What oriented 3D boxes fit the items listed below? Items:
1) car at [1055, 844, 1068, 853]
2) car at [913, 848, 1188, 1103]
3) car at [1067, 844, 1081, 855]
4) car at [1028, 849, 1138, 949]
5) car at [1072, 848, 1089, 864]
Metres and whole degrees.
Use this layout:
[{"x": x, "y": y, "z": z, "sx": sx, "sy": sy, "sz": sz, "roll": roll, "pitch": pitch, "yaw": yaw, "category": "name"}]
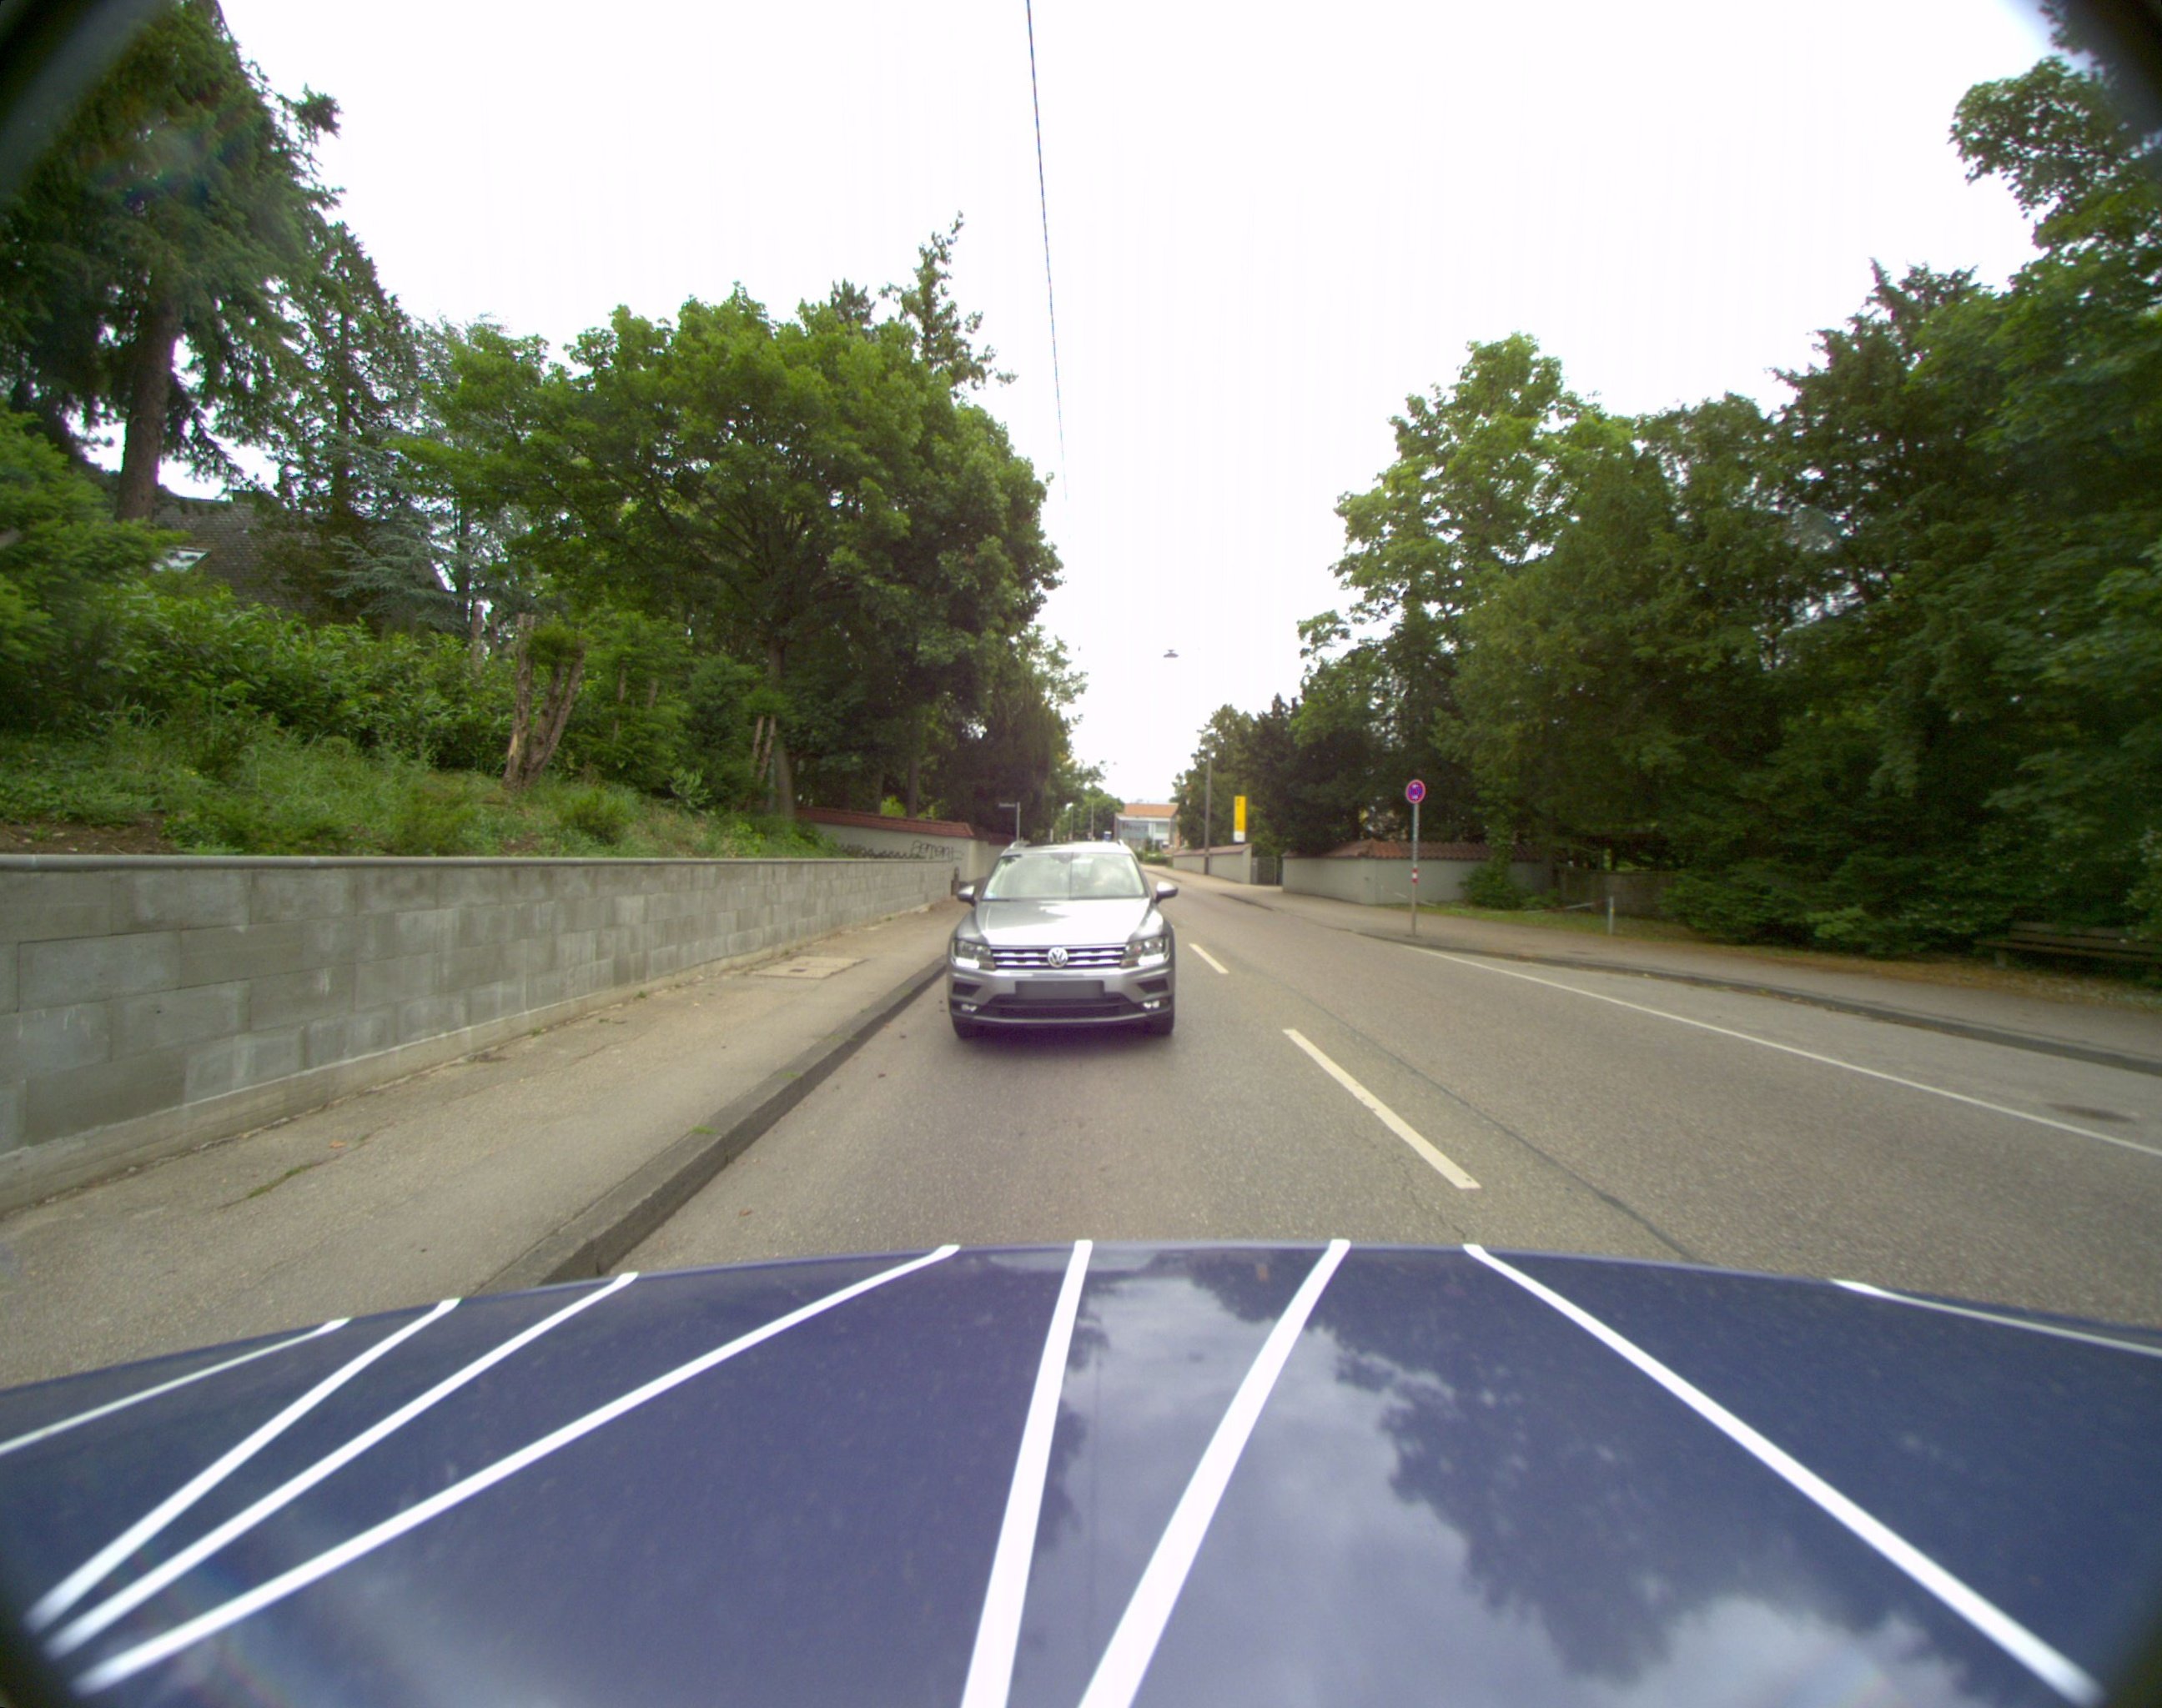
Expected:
[{"x": -3.542, "y": -1.011, "z": 139.133, "sx": 1.878, "sy": 1.647, "sz": 4.252, "roll": 0, "pitch": 1, "yaw": -8, "category": "car"}, {"x": -0.194, "y": 0.810, "z": 7.500, "sx": 1.820, "sy": 1.690, "sz": 4.718, "roll": -1, "pitch": 0, "yaw": 0, "category": "car"}, {"x": -1.116, "y": -0.720, "z": 121.272, "sx": 1.878, "sy": 1.647, "sz": 4.253, "roll": 0, "pitch": 1, "yaw": -5, "category": "car"}, {"x": 0.047, "y": 0.737, "z": 14.942, "sx": 1.820, "sy": 1.647, "sz": 4.487, "roll": 0, "pitch": 1, "yaw": 0, "category": "car"}, {"x": -0.078, "y": 0.170, "z": 83.053, "sx": 1.820, "sy": 1.733, "sz": 4.487, "roll": 0, "pitch": 1, "yaw": 0, "category": "car"}]
